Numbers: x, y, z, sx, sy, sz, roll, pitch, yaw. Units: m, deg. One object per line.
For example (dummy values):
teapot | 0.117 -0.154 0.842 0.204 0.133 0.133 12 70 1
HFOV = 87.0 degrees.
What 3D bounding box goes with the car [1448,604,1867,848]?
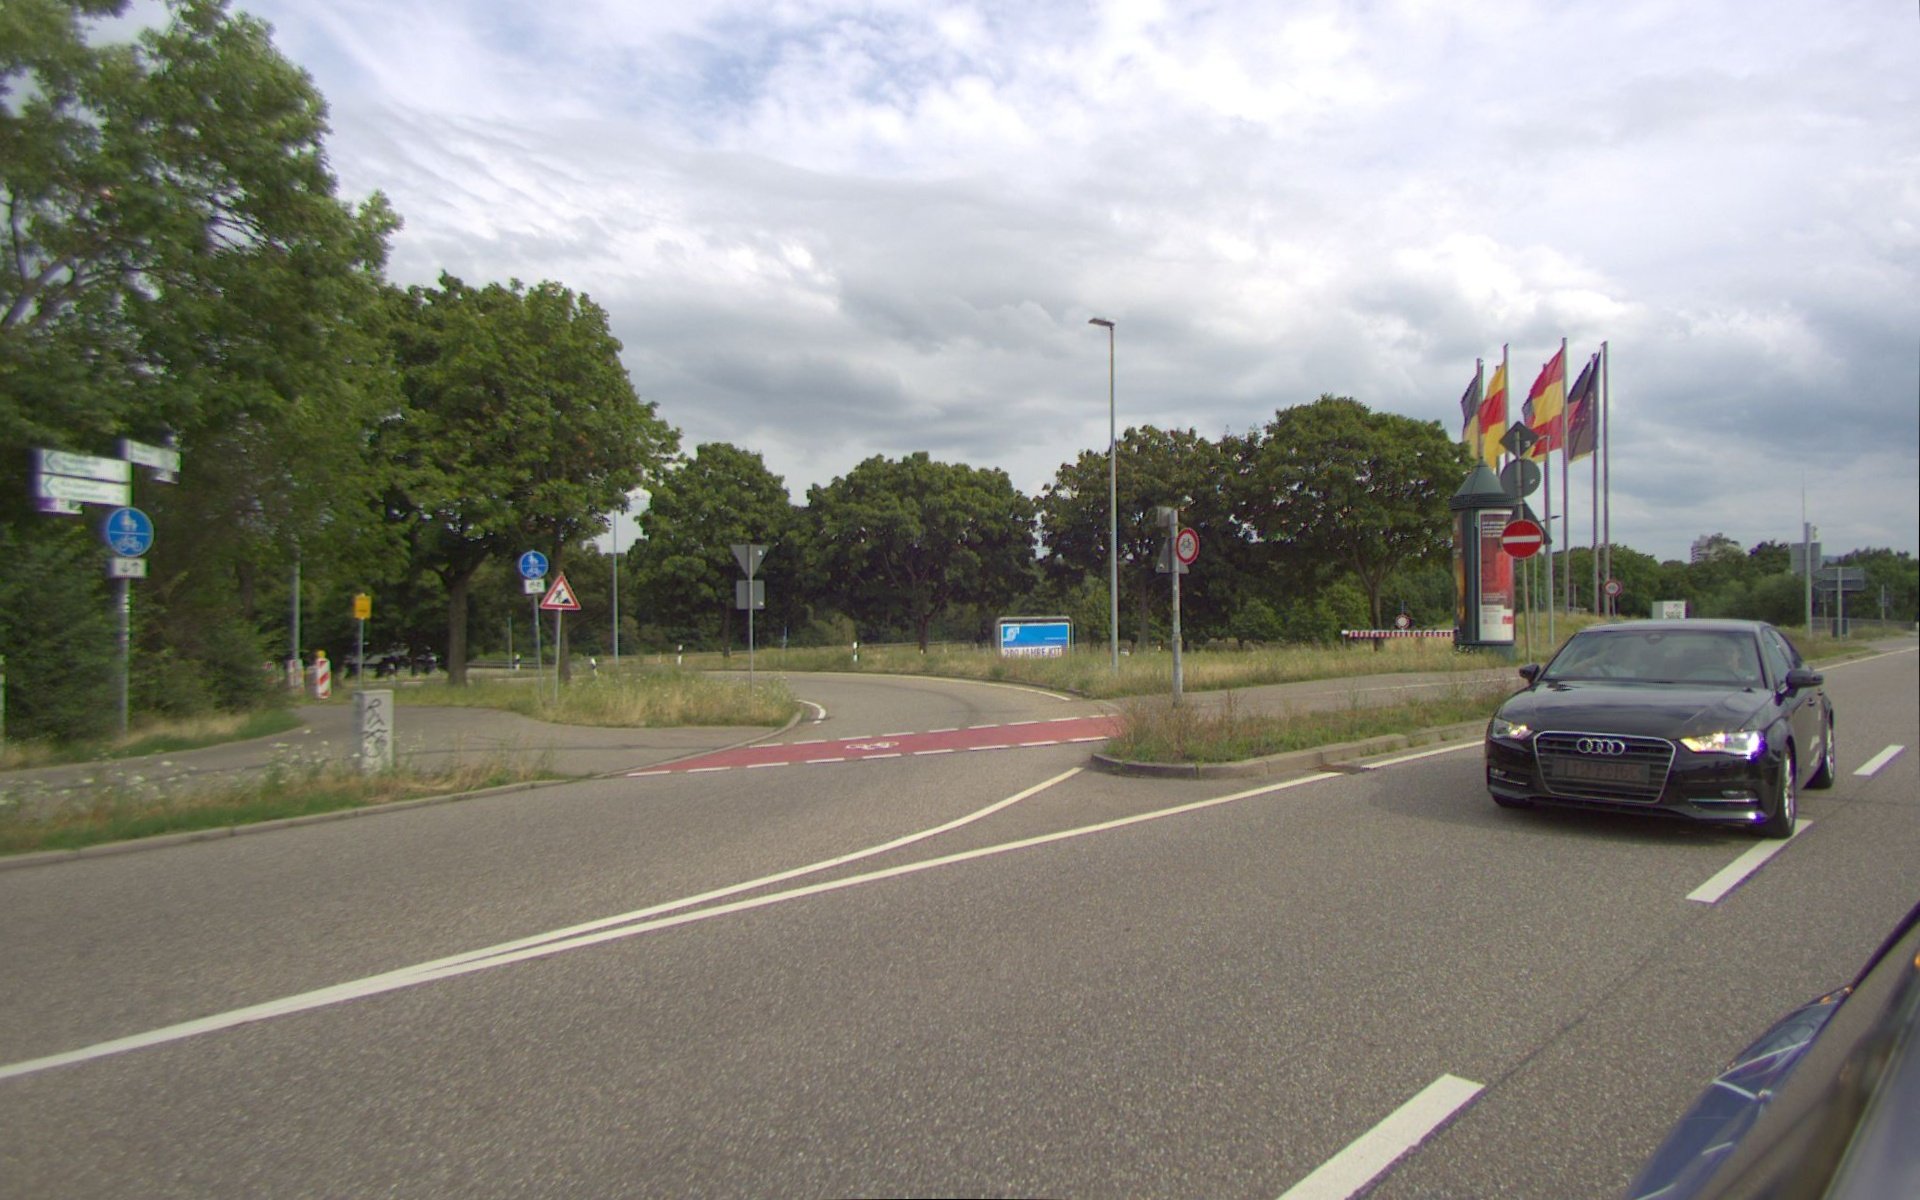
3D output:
car | 5.752 0.786 8.067 4.651 1.381 1.848 1 -3 -44
